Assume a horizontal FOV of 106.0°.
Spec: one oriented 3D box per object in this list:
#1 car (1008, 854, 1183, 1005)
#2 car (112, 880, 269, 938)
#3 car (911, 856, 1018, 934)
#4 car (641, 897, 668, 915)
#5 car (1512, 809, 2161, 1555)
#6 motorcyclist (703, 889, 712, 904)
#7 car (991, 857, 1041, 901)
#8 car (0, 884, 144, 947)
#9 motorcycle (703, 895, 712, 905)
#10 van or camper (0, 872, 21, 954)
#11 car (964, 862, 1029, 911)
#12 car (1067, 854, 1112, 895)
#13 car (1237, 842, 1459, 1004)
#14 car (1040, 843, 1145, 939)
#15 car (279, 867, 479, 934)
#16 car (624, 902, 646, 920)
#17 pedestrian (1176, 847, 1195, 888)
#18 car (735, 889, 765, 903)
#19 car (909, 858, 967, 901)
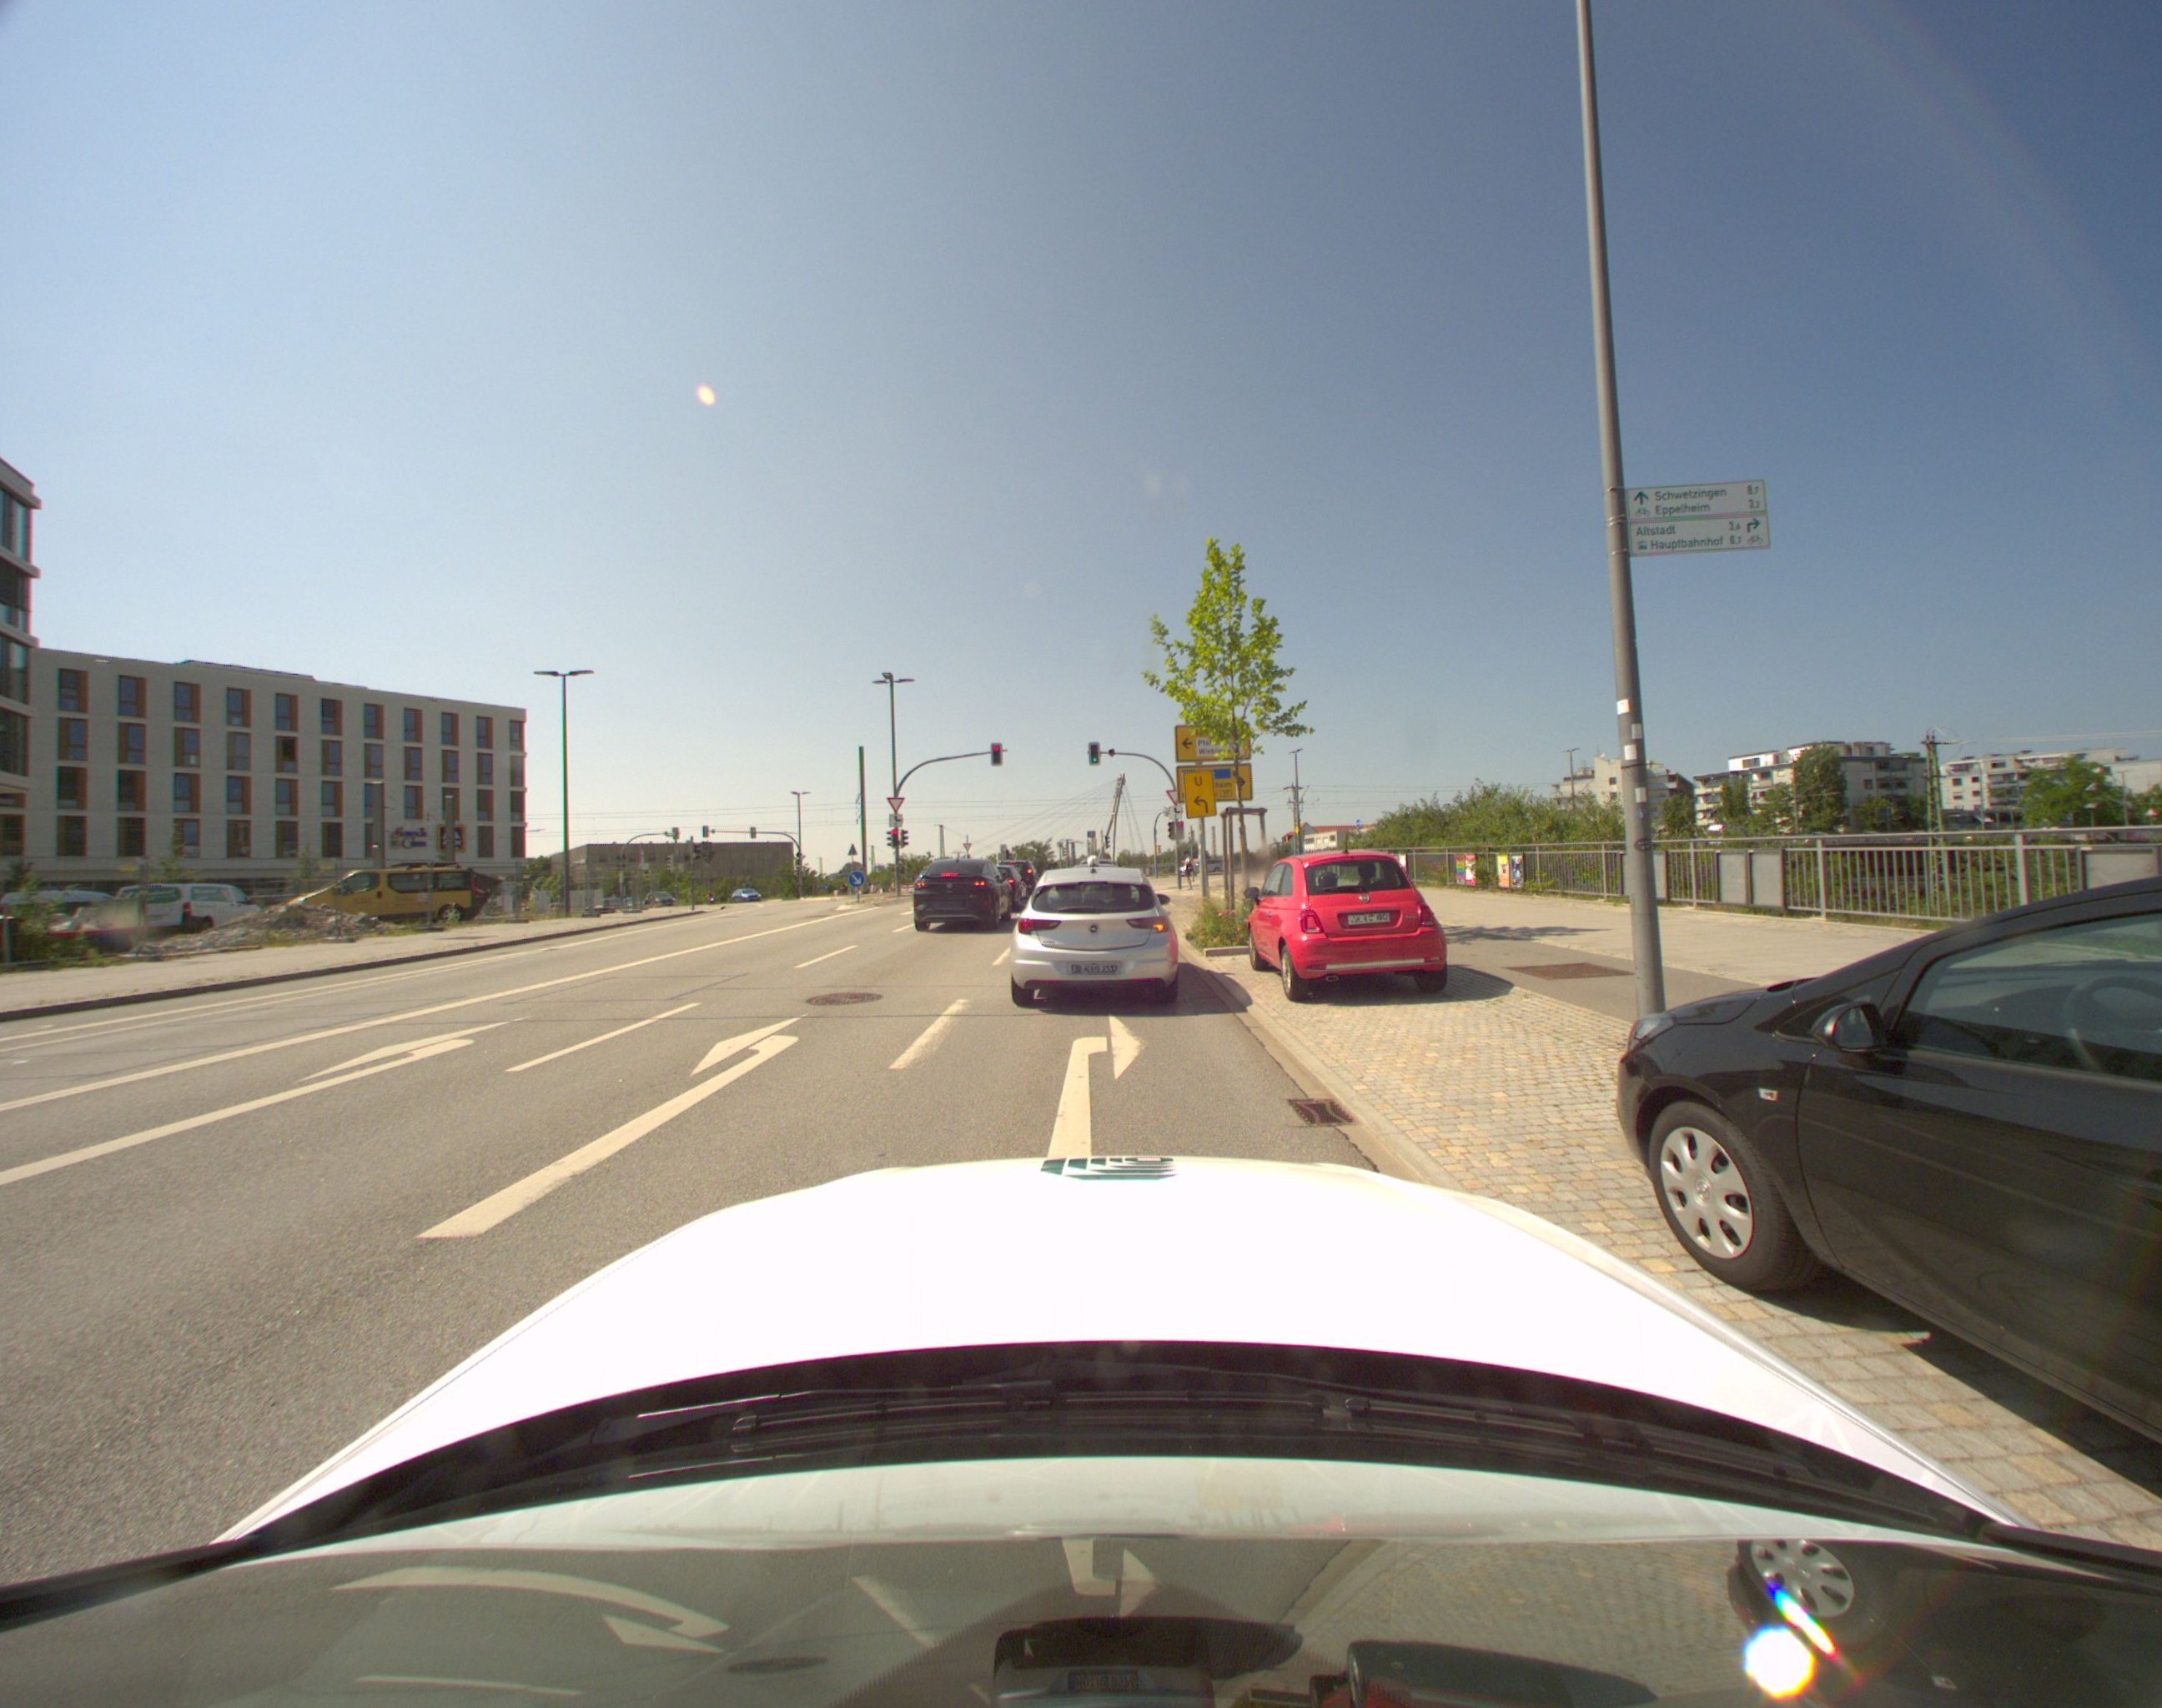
[{"bbox_3d":[0.128,0.781,10.104,1.738,1.478,3.998,0,-1,-1],"label":"car"},{"bbox_3d":[-31.020,1.851,28.578,1.873,1.774,4.618,0,-1,-22],"label":"car"},{"bbox_3d":[-2.654,0.904,19.520,1.795,1.641,4.367,0,-1,2],"label":"car"},{"bbox_3d":[-38.964,4.734,74.326,1.686,1.476,3.368,-2,0,-37],"label":"car"},{"bbox_3d":[2.863,0.591,1.823,1.655,1.426,4.000,-3,-1,0],"label":"car"},{"bbox_3d":[-39.804,4.531,86.799,0.756,1.494,0.670,0,-1,-36],"label":"motorcyclist"},{"bbox_3d":[-2.484,0.945,31.943,1.644,1.615,3.819,0,-1,0],"label":"car"},{"bbox_3d":[-33.577,1.962,27.137,1.795,1.857,3.816,0,-1,-28],"label":"car"},{"bbox_3d":[-39.717,4.876,86.676,0.523,0.955,1.913,0,-1,-35],"label":"motorcycle"},{"bbox_3d":[-36.492,1.946,25.296,2.318,2.735,4.944,0,-1,-26],"label":"van or camper"},{"bbox_3d":[-2.596,0.993,25.801,1.569,1.434,3.786,0,-1,1],"label":"car"},{"bbox_3d":[0.405,0.788,33.400,1.717,1.564,4.002,0,0,2],"label":"car"},{"bbox_3d":[2.937,0.683,9.666,1.603,1.496,3.355,-4,0,3],"label":"car"},{"bbox_3d":[0.297,0.707,17.729,1.986,1.820,4.403,0,0,2],"label":"car"},{"bbox_3d":[-22.628,1.419,26.417,1.964,1.962,4.655,-1,-1,40],"label":"car"},{"bbox_3d":[-44.190,5.603,80.674,1.578,1.587,3.441,0,-1,-35],"label":"car"},{"bbox_3d":[4.769,0.609,37.200,0.645,1.836,0.797,-3,-1,0],"label":"pedestrian"},{"bbox_3d":[-32.981,4.158,81.115,1.831,1.331,3.954,0,-3,-38],"label":"car"},{"bbox_3d":[-5.401,0.945,31.165,1.592,1.547,3.761,0,-1,0],"label":"car"}]
